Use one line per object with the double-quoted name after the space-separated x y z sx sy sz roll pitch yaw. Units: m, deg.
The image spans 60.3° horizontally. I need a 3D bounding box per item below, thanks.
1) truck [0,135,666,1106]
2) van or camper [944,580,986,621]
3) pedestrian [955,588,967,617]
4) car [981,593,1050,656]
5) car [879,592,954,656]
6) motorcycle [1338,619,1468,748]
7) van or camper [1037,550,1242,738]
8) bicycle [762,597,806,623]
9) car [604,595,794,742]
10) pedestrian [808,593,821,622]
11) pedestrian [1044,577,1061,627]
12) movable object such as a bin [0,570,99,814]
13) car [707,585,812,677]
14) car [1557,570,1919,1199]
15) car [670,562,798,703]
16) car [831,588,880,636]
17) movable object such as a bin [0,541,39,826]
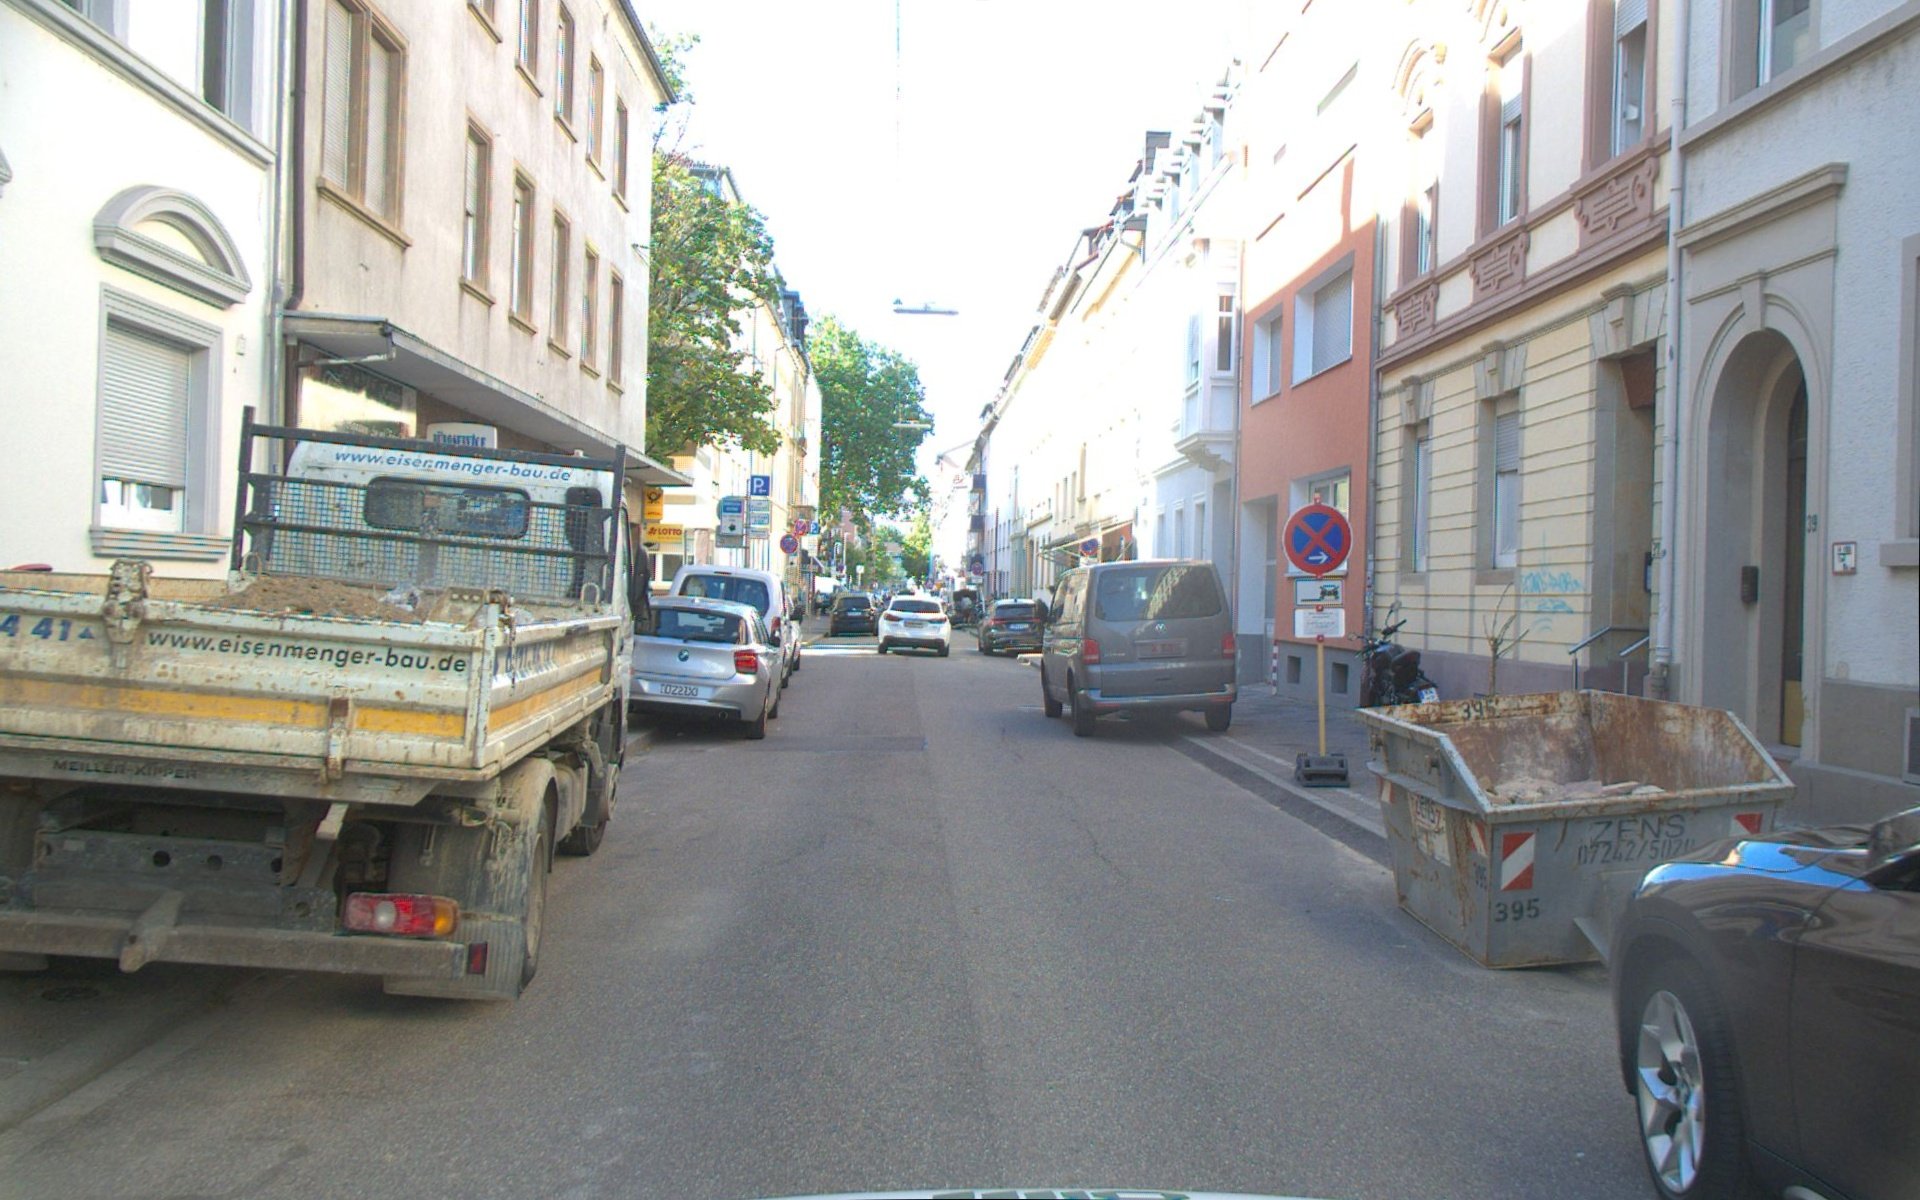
-2.638 0.080 7.635 2.116 2.635 6.240 0 -1 -7 "truck"
0.225 0.034 82.685 1.953 1.959 3.998 1 -1 -2 "van or camper"
0.049 0.129 84.102 0.614 1.490 0.575 1 -1 -2 "pedestrian"
1.477 0.629 45.083 1.614 1.604 3.678 1 0 -2 "car"
-1.102 0.576 42.240 1.797 1.512 4.056 1 0 -1 "car"
4.722 0.843 17.831 0.584 1.207 2.759 -3 0 0 "motorcycle"
2.095 0.480 20.555 1.740 2.072 4.566 0 0 -4 "van or camper"
-7.801 0.448 73.506 1.934 1.134 0.505 2 0 -37 "bicycle"
-2.843 0.687 18.750 1.723 1.440 3.997 -1 0 -3 "car"
-7.638 0.384 86.719 0.614 1.490 0.575 1 -1 -2 "pedestrian"
3.276 0.087 58.685 0.517 1.757 0.490 0 -1 13 "pedestrian"
-5.513 0.519 9.727 0.550 1.383 0.632 1 0 -2 "movable object such as a bin"
-3.735 0.550 31.338 1.614 1.604 3.678 1 0 -2 "car"
2.716 0.772 2.736 1.704 1.604 4.376 1 1 -2 "car"
-3.283 0.434 24.585 1.615 1.900 3.996 1 0 -5 "car"
-3.757 0.424 60.000 1.592 1.625 3.579 2 0 -2 "car"
-5.553 0.454 9.091 0.626 1.559 0.587 1 0 -2 "movable object such as a bin"
